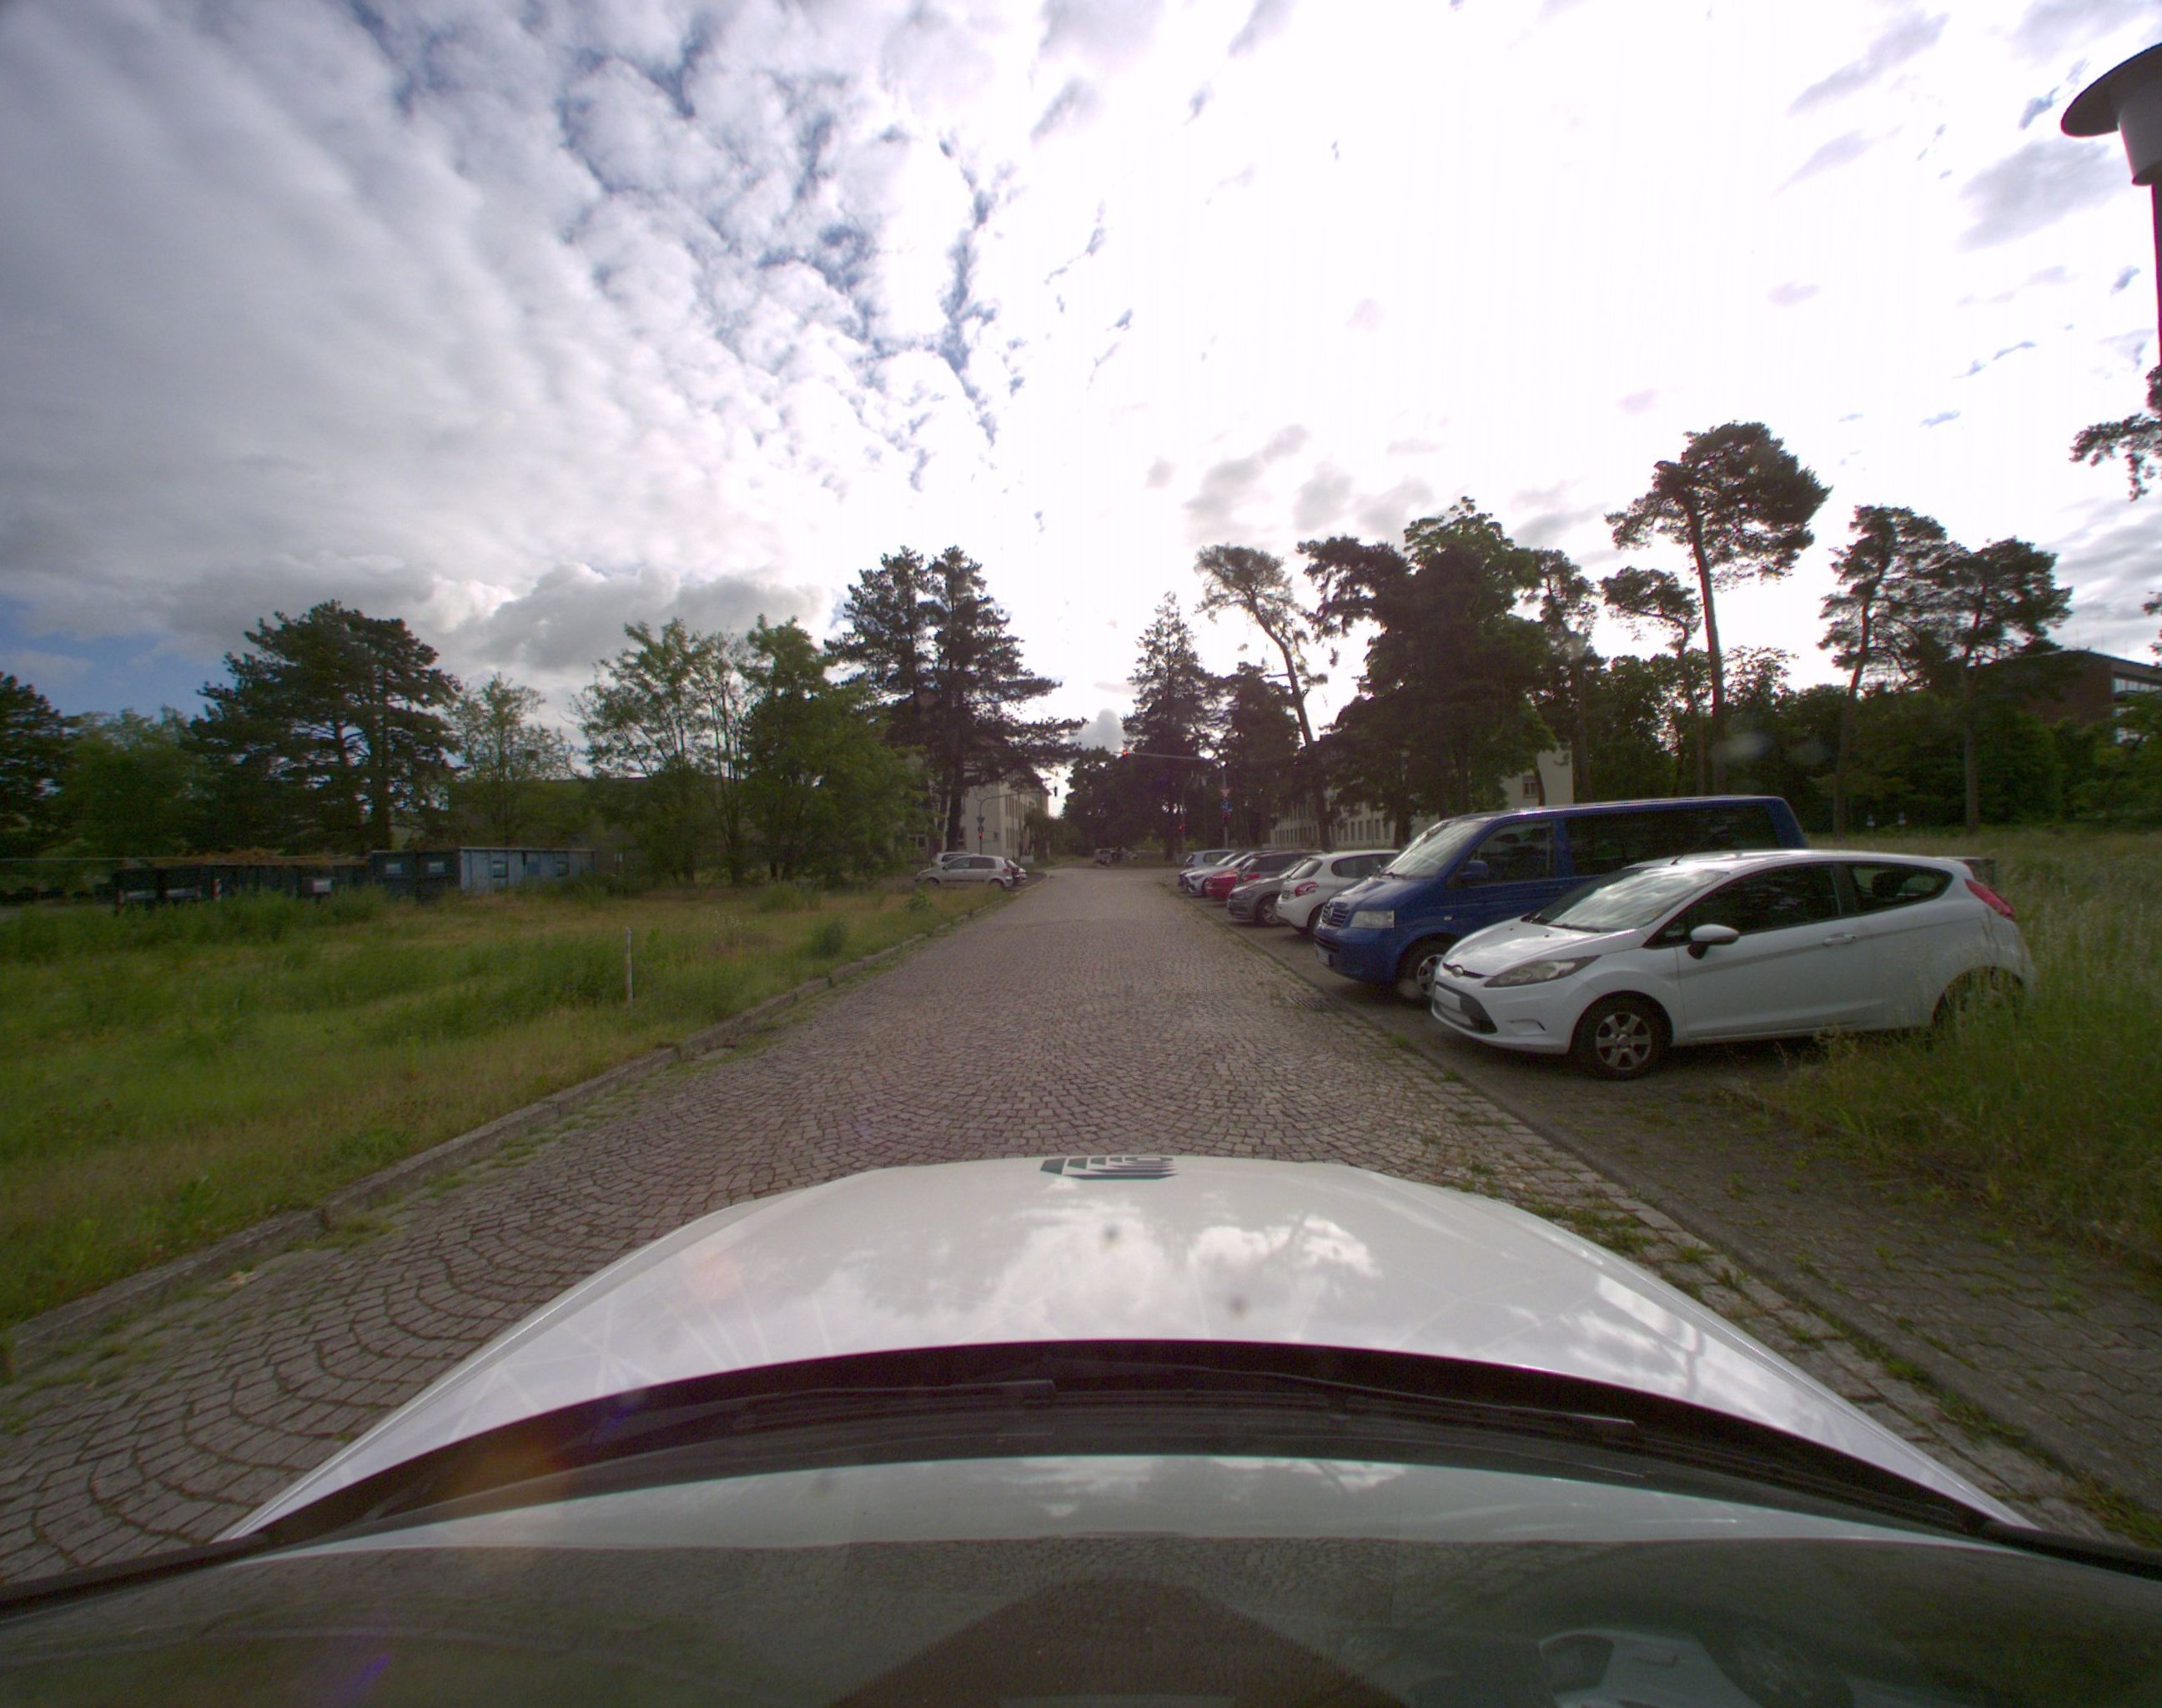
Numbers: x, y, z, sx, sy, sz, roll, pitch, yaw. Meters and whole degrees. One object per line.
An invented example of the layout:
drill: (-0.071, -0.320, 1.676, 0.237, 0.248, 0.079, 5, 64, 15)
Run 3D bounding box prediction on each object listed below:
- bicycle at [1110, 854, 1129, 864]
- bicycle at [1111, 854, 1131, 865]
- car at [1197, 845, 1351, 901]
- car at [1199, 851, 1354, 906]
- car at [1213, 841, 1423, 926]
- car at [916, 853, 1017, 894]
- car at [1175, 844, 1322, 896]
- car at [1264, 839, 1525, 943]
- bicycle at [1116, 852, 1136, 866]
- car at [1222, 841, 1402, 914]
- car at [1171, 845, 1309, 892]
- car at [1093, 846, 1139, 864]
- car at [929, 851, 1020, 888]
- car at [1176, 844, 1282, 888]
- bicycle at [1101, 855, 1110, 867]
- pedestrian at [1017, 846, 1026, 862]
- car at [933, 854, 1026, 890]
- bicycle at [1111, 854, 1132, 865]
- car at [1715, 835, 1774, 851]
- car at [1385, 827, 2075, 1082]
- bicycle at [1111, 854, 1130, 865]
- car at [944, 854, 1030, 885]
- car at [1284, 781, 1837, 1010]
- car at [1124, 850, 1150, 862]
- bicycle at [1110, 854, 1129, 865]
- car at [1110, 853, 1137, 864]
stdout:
bicycle: (4.178, 0.569, 88.517, 1.963, 1.069, 0.583, -2, 0, -23)
bicycle: (4.005, 0.566, 81.997, 1.952, 1.117, 0.587, -2, 0, -6)
car: (5.848, 0.569, 25.041, 4.246, 1.416, 1.871, -3, 0, 1)
car: (5.321, 0.641, 22.537, 3.849, 1.236, 1.758, -3, 0, 0)
car: (4.868, 0.584, 17.102, 3.849, 1.472, 1.758, -3, 0, 0)
car: (-4.417, 0.745, 31.857, 3.692, 1.479, 1.581, 1, 0, -2)
car: (5.549, 0.523, 27.317, 4.418, 1.416, 1.866, -3, 0, -8)
car: (5.334, 0.601, 14.227, 3.849, 1.472, 1.758, -3, 0, 0)
bicycle: (4.568, 0.471, 82.817, 1.952, 1.384, 0.587, -2, 0, -6)
car: (5.560, 0.550, 19.932, 3.849, 1.472, 1.758, -3, 0, 0)
car: (5.791, 0.526, 29.998, 4.667, 1.416, 1.870, -3, 0, -1)
car: (4.239, 0.166, 99.455, 5.357, 1.925, 2.020, -3, 0, -8)
car: (-4.817, 0.700, 37.245, 3.936, 1.563, 1.649, 1, 0, -2)
car: (5.851, 0.455, 32.452, 3.911, 1.477, 1.644, -3, 0, 3)
bicycle: (2.346, 0.689, 78.199, 0.602, 1.132, 1.959, -1, 0, -4)
pedestrian: (-7.101, 0.030, 97.342, 0.778, 1.837, 0.734, -2, 0, -30)
car: (-4.236, 0.733, 34.452, 3.735, 1.428, 1.581, 1, 0, -2)
bicycle: (4.048, 0.542, 81.363, 1.952, 1.132, 0.587, -2, 0, -6)
car: (60.081, -0.990, 73.770, 3.930, 1.421, 1.652, 1, 0, 4)
car: (4.652, 0.664, 6.326, 3.849, 1.472, 1.841, -3, 0, 0)
bicycle: (4.141, 0.586, 84.829, 1.966, 1.069, 0.582, -2, 0, -28)
car: (-4.537, 0.730, 39.784, 3.934, 1.421, 1.650, 1, 0, 1)
car: (4.891, 0.397, 8.883, 4.792, 1.945, 2.003, -3, 0, 0)
car: (7.092, 0.289, 103.279, 3.223, 1.416, 1.724, -2, 0, -1)
bicycle: (3.947, 0.590, 83.482, 1.966, 1.069, 0.582, -2, 0, -28)
car: (5.028, 0.510, 96.072, 3.000, 1.268, 1.533, -2, 0, -5)
